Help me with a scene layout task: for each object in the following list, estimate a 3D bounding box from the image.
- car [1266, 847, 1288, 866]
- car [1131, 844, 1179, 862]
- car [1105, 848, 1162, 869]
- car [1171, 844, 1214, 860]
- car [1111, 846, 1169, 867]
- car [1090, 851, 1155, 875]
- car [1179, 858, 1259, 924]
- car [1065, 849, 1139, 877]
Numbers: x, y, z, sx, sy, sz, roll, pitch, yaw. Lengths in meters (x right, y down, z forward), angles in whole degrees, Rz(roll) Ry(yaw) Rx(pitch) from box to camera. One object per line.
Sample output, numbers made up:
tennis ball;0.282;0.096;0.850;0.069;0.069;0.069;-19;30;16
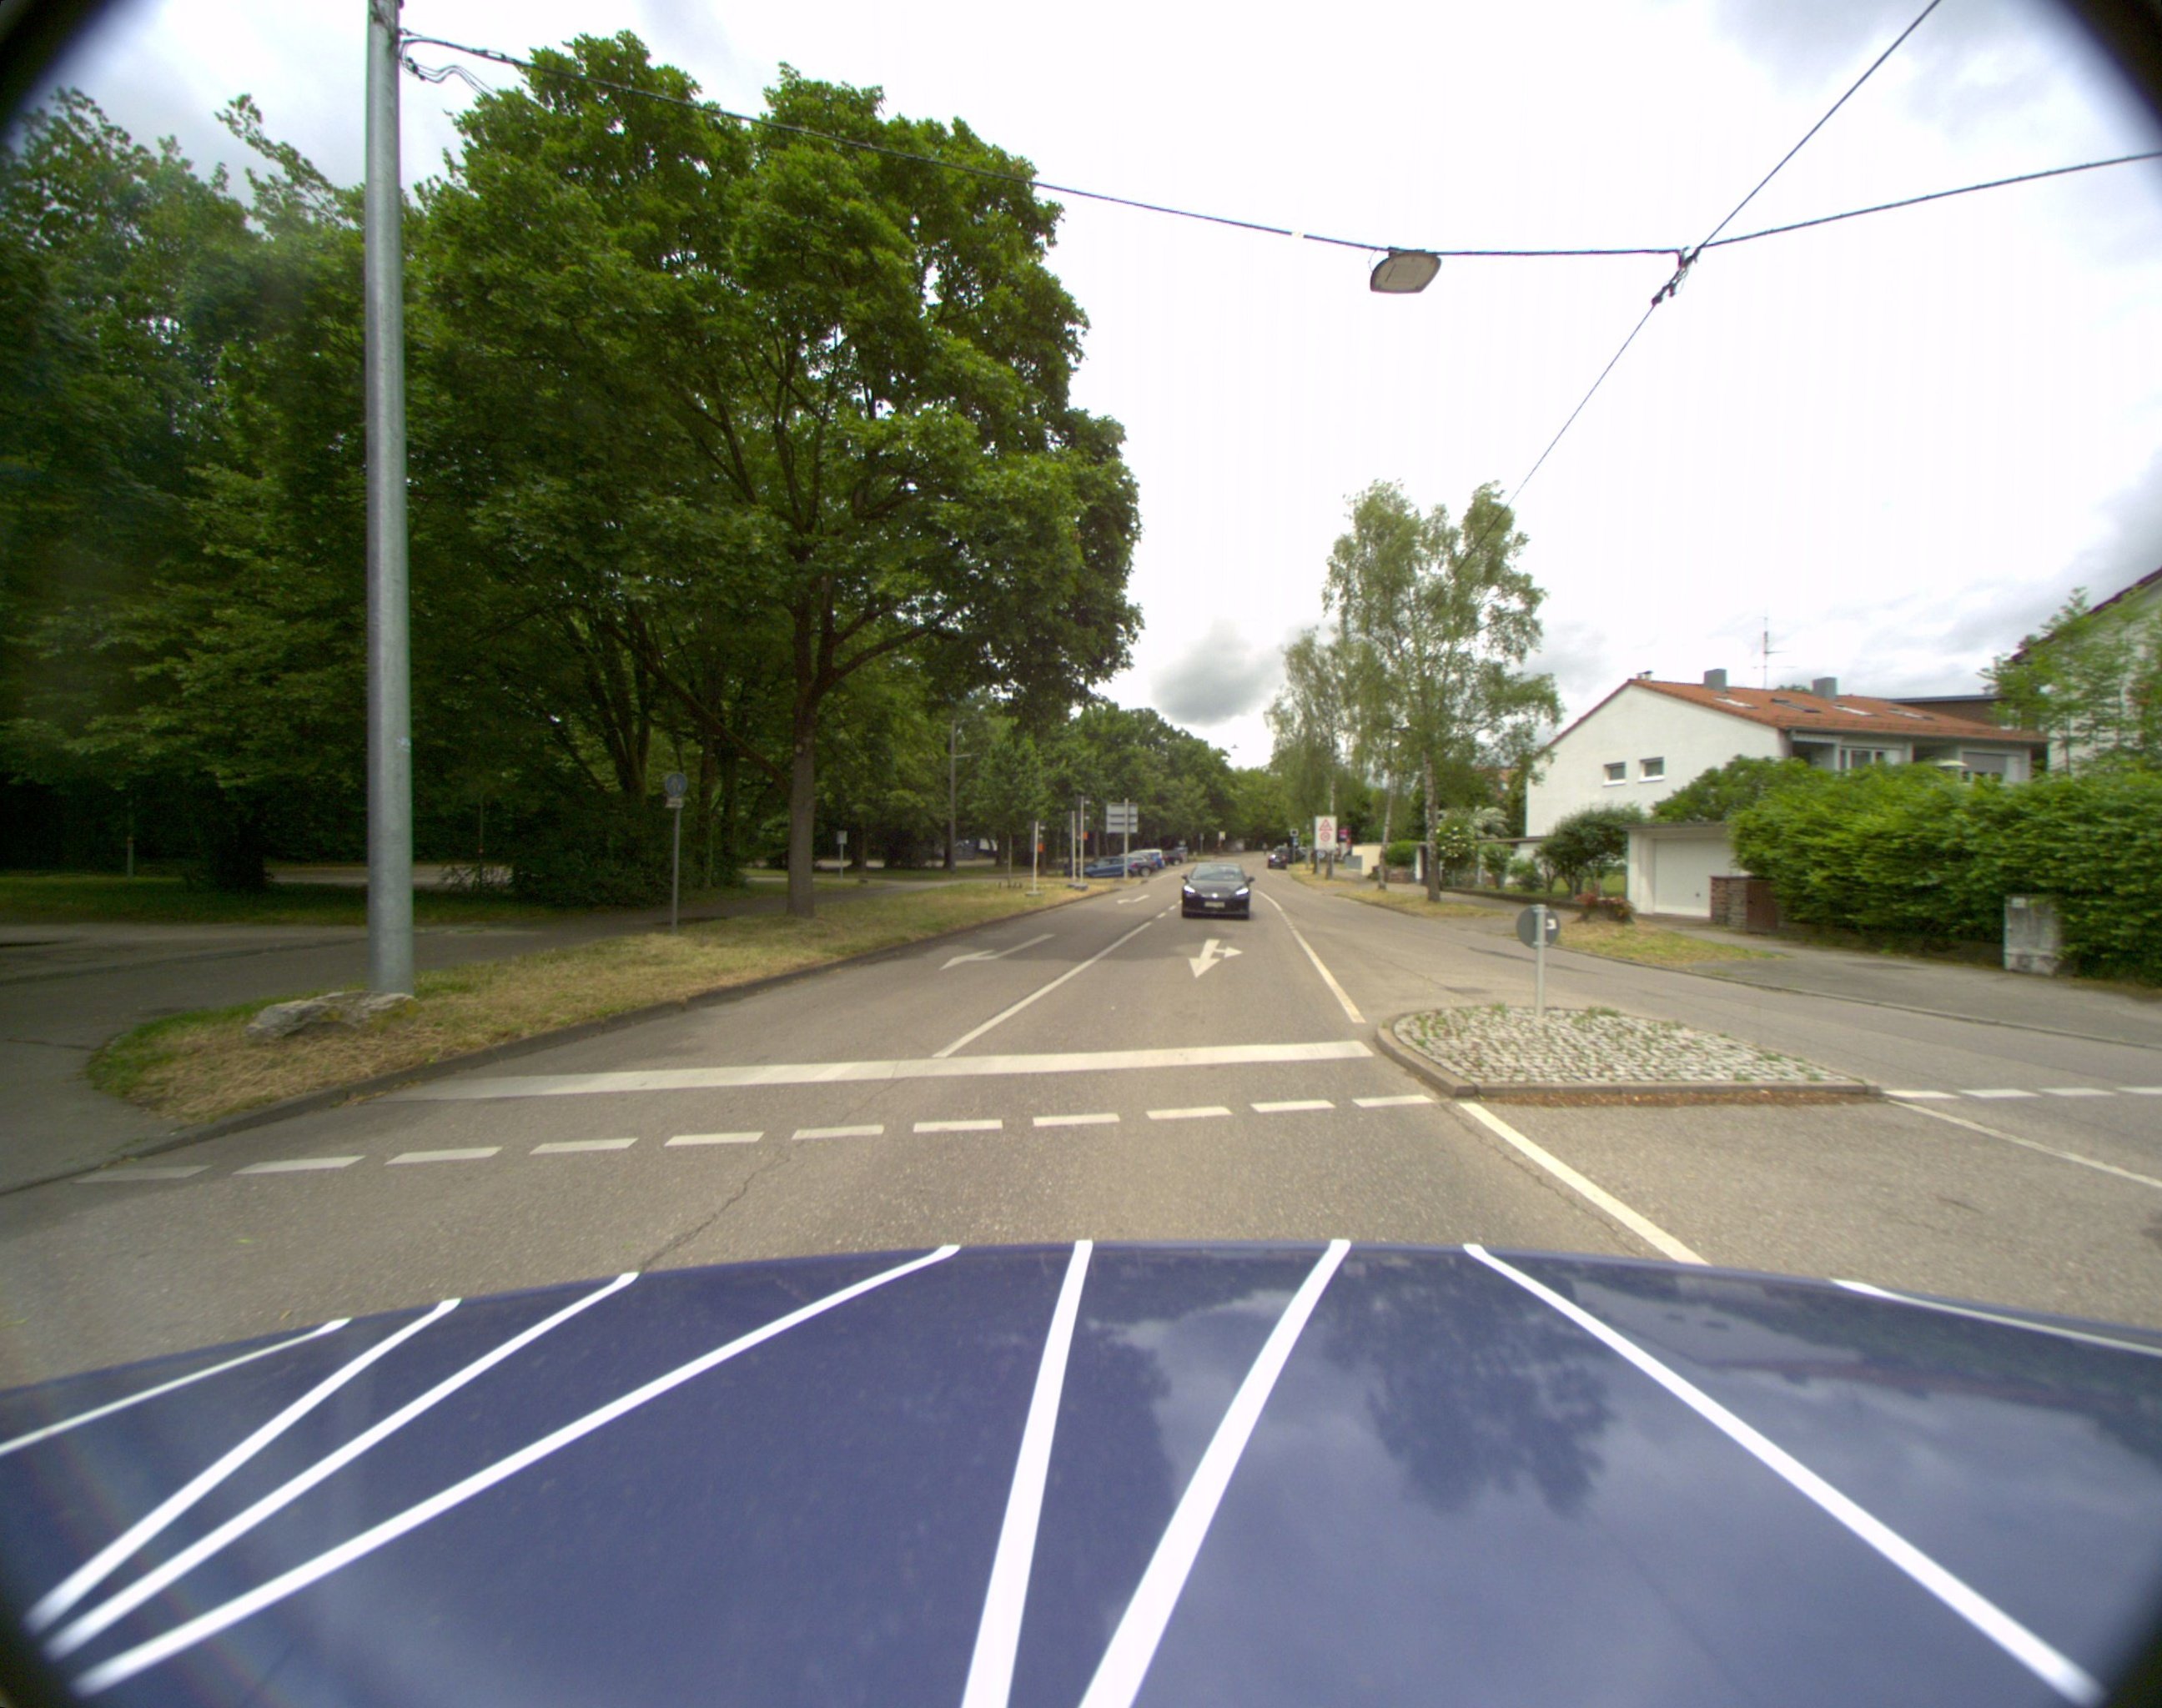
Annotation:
car;19.068;0.231;73.839;1.972;1.600;4.422;3;3;15
car;7.093;-0.094;73.213;4.416;1.599;1.999;1;1;-3
car;3.974;0.318;57.457;3.999;1.477;1.917;1;1;-6
car;11.924;-0.205;81.278;4.414;1.599;2.000;1;1;3
car;4.825;0.191;62.405;4.420;1.599;1.998;1;1;-11
car;2.673;0.573;49.633;3.999;1.477;1.917;1;1;-6
car;3.957;0.938;21.436;1.996;1.608;4.004;0;1;13
car;1.196;0.491;44.498;4.000;1.478;1.916;1;2;-9
